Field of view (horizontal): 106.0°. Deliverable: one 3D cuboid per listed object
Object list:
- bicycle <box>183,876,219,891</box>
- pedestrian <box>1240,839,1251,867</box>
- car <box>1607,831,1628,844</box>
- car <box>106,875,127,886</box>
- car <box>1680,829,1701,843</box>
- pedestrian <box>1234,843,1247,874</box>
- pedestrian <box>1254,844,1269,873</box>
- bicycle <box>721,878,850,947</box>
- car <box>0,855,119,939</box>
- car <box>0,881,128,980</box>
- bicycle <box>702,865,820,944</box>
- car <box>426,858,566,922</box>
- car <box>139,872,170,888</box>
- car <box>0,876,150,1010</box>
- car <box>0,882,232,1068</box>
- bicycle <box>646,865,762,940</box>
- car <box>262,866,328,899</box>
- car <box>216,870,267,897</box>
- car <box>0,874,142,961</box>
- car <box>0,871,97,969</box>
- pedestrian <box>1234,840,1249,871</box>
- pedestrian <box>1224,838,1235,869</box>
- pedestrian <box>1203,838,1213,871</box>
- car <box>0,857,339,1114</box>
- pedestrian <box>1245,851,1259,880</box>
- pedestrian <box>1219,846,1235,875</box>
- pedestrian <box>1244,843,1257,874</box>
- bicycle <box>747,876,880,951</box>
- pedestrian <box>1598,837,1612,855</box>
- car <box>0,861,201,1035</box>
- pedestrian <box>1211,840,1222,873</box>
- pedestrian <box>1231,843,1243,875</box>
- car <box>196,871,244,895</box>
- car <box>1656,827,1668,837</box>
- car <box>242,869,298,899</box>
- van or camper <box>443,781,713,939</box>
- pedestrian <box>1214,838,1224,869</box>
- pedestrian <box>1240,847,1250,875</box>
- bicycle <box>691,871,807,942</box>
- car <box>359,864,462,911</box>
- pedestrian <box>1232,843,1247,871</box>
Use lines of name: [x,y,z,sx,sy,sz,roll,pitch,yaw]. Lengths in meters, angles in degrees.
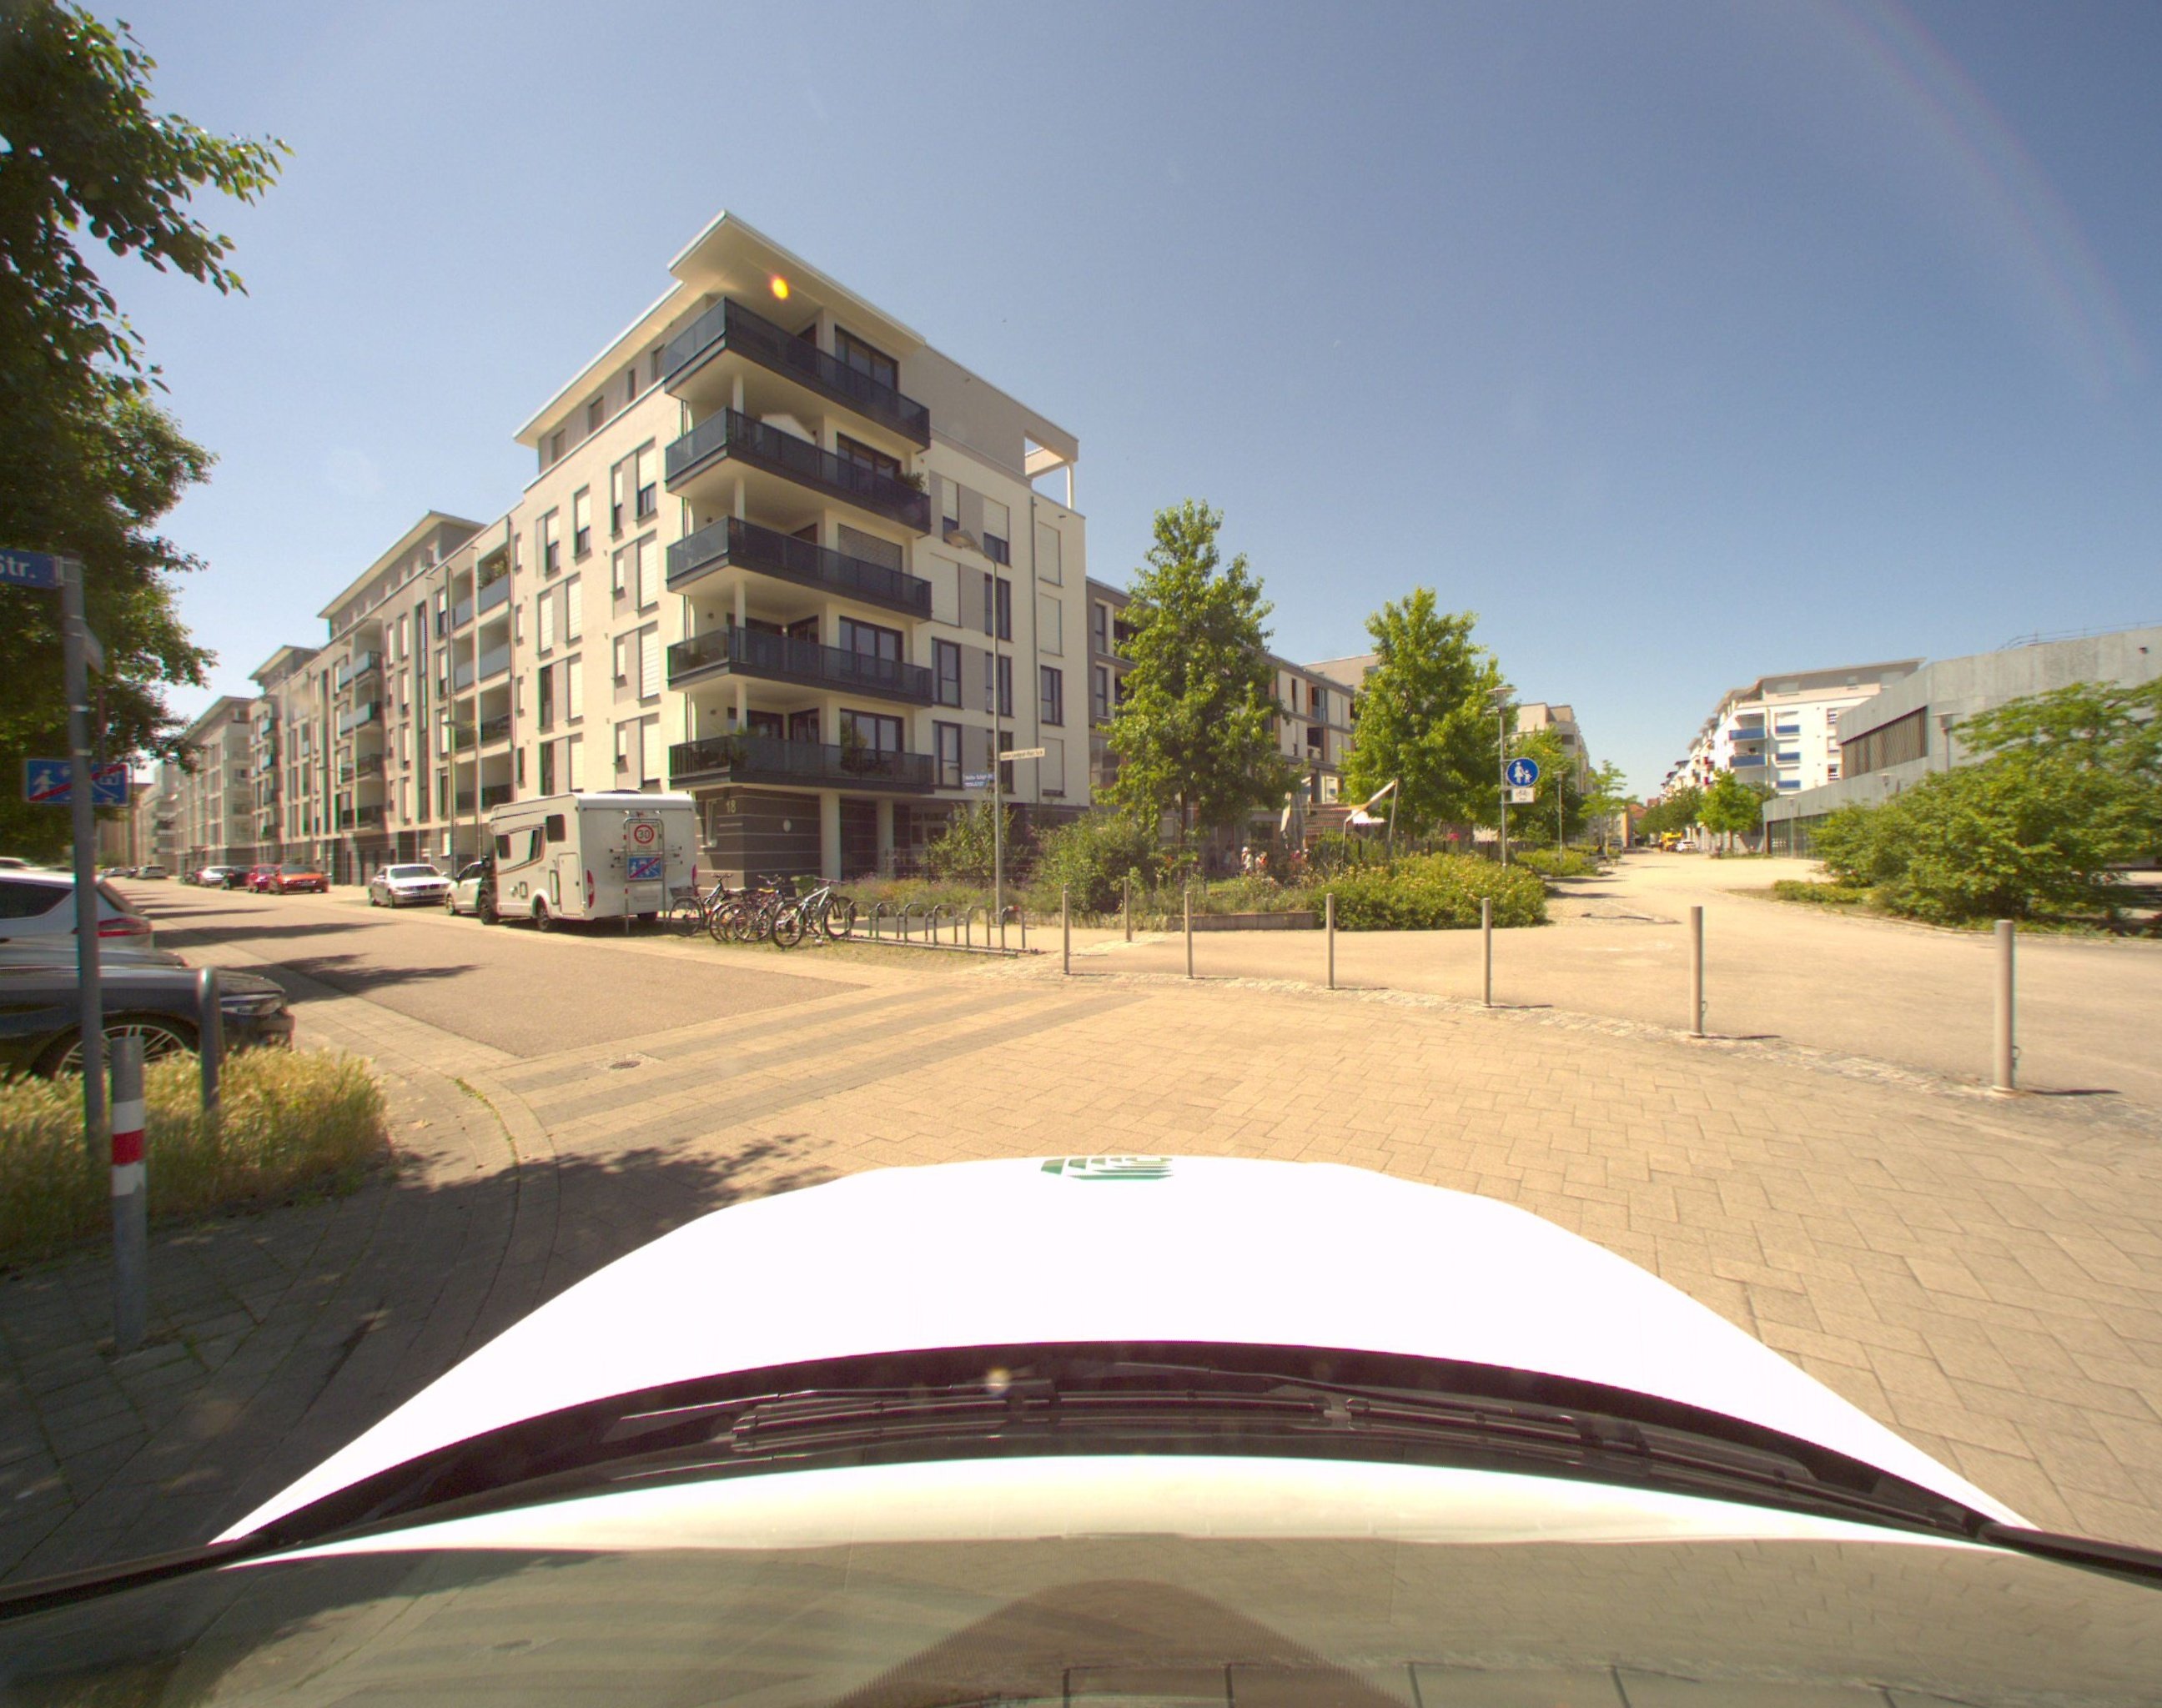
bicycle: [-70.099,2.357,64.878,0.737,1.104,1.804,-2,2,35]
pedestrian: [8.748,-0.065,43.346,0.461,1.508,0.395,-1,0,-8]
car: [71.346,-2.170,108.284,2.125,1.652,4.114,-1,0,35]
car: [-157.082,4.286,132.629,3.948,1.675,2.013,-1,1,37]
car: [72.532,-2.091,96.934,1.974,1.609,4.026,-1,0,36]
pedestrian: [5.380,0.156,27.435,0.291,1.053,0.318,-1,0,-34]
pedestrian: [5.967,0.152,26.968,0.292,0.971,0.383,-1,0,-41]
bicycle: [-5.105,0.972,14.117,1.869,0.975,0.934,-4,2,-39]
car: [-29.449,1.188,21.358,2.159,2.110,5.394,-1,1,40]
car: [-17.738,1.178,11.887,1.805,1.457,4.897,-2,-1,38]
bicycle: [-5.642,0.849,14.450,0.548,1.222,1.868,-1,1,39]
car: [-16.137,0.955,22.401,4.205,1.504,1.825,-1,2,36]
car: [-103.589,2.890,91.033,4.062,1.657,2.017,-1,1,39]
car: [-13.873,1.060,9.170,1.799,1.531,4.292,-1,-1,35]
car: [-9.924,0.967,5.993,1.804,1.449,4.864,-2,-2,36]
bicycle: [-7.220,0.887,15.702,0.817,1.222,1.933,-1,3,22]
car: [-39.499,1.419,40.887,4.203,1.486,1.755,-1,2,38]
car: [-51.543,1.795,50.004,4.064,1.462,1.659,-1,2,38]
car: [-21.388,1.222,15.353,1.941,1.594,4.602,-2,-1,33]
car: [-19.518,1.143,13.531,1.924,1.629,4.018,-2,-1,40]
pedestrian: [5.322,0.035,27.041,0.412,1.025,0.280,0,-1,-20]
pedestrian: [7.375,-0.031,40.475,0.394,1.508,0.462,-1,0,-3]
pedestrian: [6.669,0.027,42.806,0.332,1.690,0.466,-1,0,30]
car: [-7.788,0.840,4.496,1.903,1.485,5.148,-2,0,36]
pedestrian: [6.032,0.412,28.693,0.392,1.026,0.414,-1,-1,27]
pedestrian: [5.032,0.232,27.983,0.365,0.986,0.414,-1,-1,41]
pedestrian: [5.663,0.152,27.228,0.291,1.053,0.283,-1,0,-34]
bicycle: [-4.376,0.945,13.514,0.864,1.003,2.045,-2,2,26]
pedestrian: [39.299,-0.599,61.027,0.839,1.348,0.700,-1,1,34]
car: [-11.873,0.945,7.373,2.016,1.632,5.077,-1,0,36]
pedestrian: [7.105,0.136,42.760,0.391,1.690,0.466,-1,0,30]
pedestrian: [5.134,0.163,26.733,0.289,1.053,0.288,-1,0,-10]
car: [-60.321,2.002,57.023,4.294,1.504,1.852,-1,2,38]
car: [126.017,-4.745,176.629,1.974,2.013,4.026,-1,0,34]
car: [-43.926,1.599,44.092,3.628,1.485,1.611,-1,3,38]
van or camper: [-11.507,0.198,18.265,7.725,2.906,2.462,-2,-1,37]
pedestrian: [6.874,-0.023,40.535,0.394,1.508,0.462,-1,0,-3]
pedestrian: [6.042,0.257,30.030,0.318,1.053,0.291,-1,0,15]
bicycle: [-5.936,0.906,14.676,0.470,1.110,1.901,-1,1,39]
car: [-23.078,1.130,27.966,4.369,1.416,1.863,-2,0,39]
pedestrian: [5.705,0.113,29.360,0.412,1.025,0.312,0,-1,-20]
